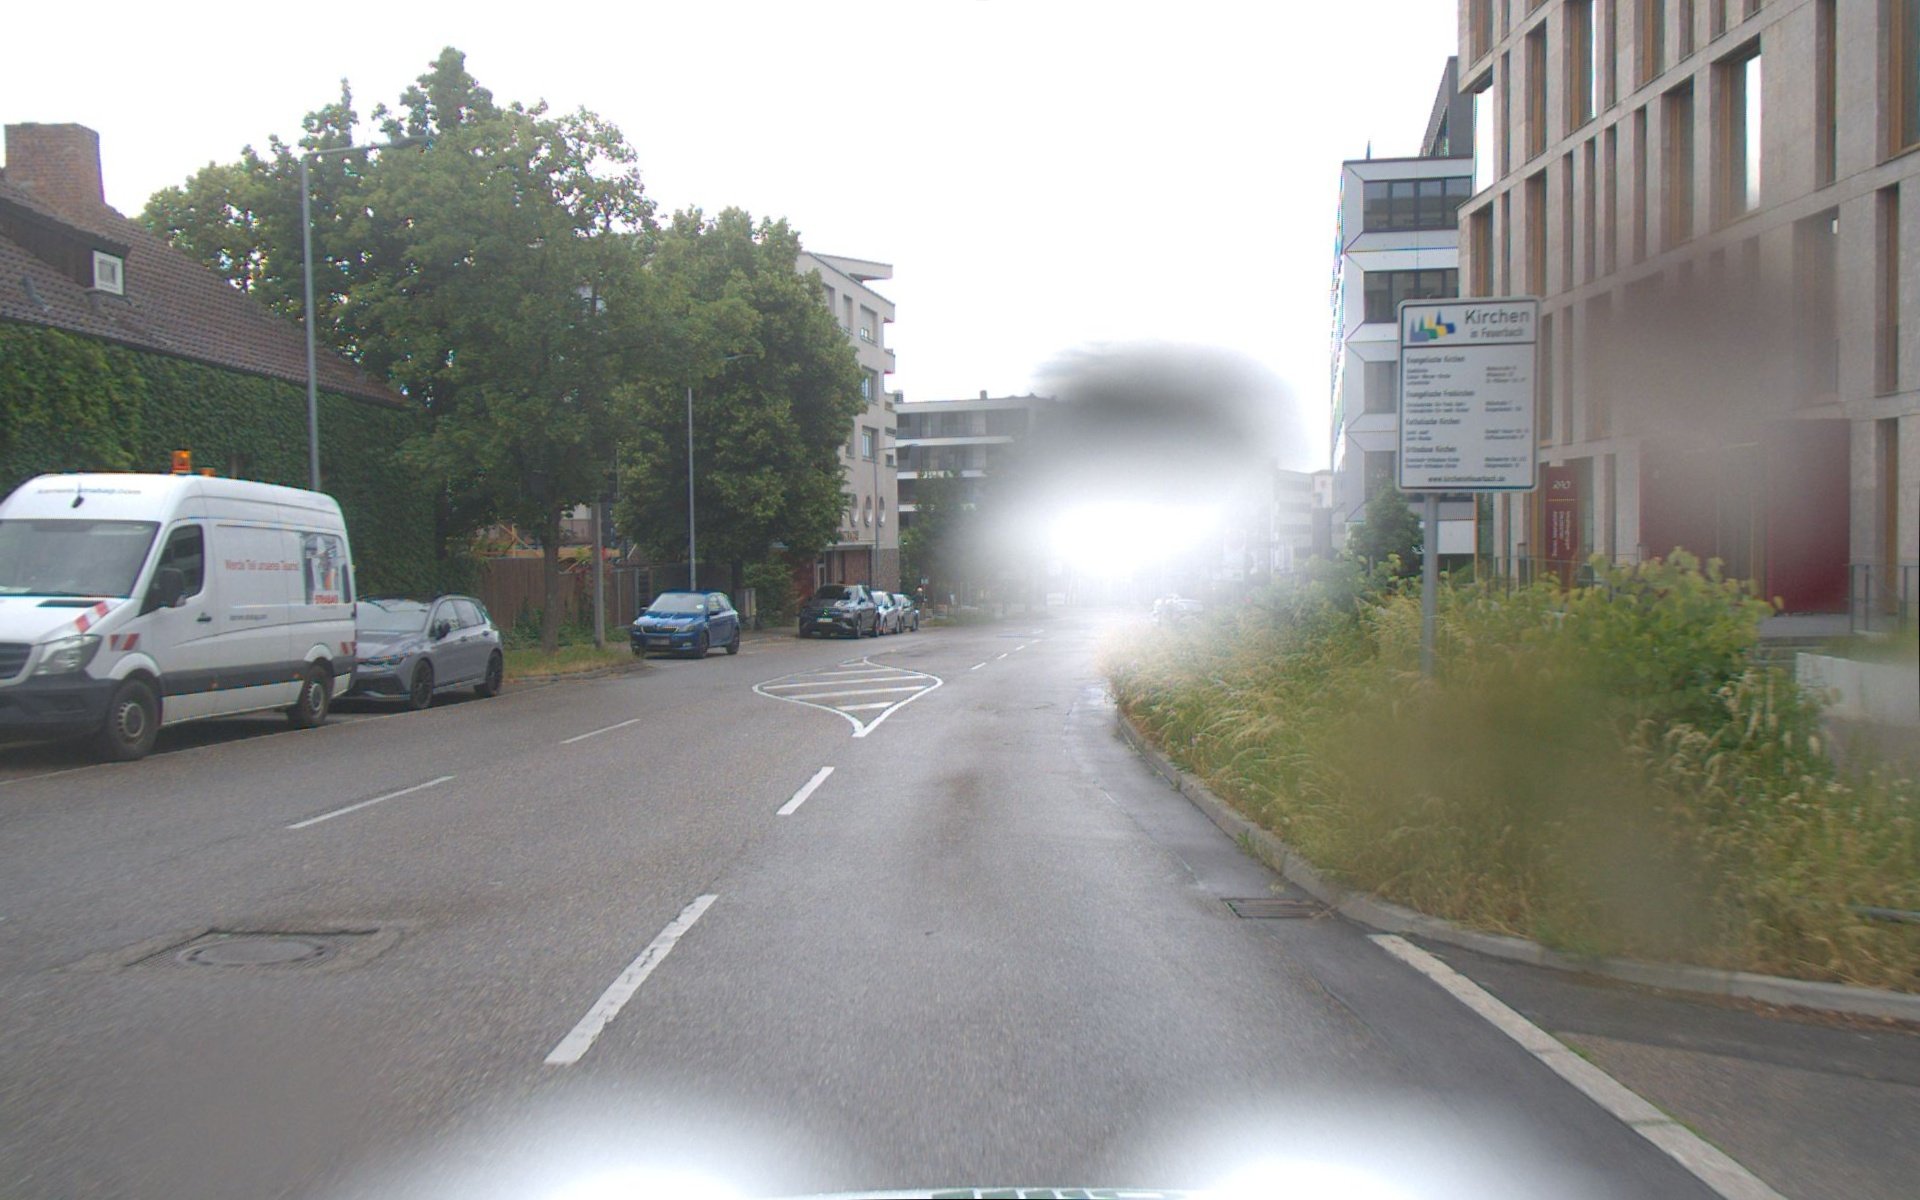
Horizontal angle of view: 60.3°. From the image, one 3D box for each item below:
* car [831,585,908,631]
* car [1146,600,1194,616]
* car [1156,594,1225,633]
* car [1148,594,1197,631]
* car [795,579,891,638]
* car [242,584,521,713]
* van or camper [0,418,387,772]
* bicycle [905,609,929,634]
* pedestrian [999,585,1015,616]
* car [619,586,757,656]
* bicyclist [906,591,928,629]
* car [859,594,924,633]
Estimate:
[{"bbox_3d":[-3.306,0.299,60.998,1.947,1.621,4.493,1,0,8],"label":"car"},{"bbox_3d":[17.854,0.690,140.438,1.961,1.315,4.683,1,0,37],"label":"car"},{"bbox_3d":[9.207,0.514,66.353,2.003,1.483,4.053,1,0,-3],"label":"car"},{"bbox_3d":[9.358,0.523,72.631,1.996,1.490,4.506,1,0,9],"label":"car"},{"bbox_3d":[-3.813,0.272,55.014,1.951,1.818,5.415,1,0,9],"label":"car"},{"bbox_3d":[-7.650,0.591,22.392,1.951,1.539,4.425,1,0,4],"label":"car"},{"bbox_3d":[-7.989,-0.084,16.310,2.291,2.813,6.144,1,1,2],"label":"van or camper"},{"bbox_3d":[-1.797,0.880,68.788,0.785,0.996,2.255,1,0,4],"label":"bicycle"},{"bbox_3d":[3.128,0.038,110.638,1.033,2.049,1.100,1,0,1],"label":"pedestrian"},{"bbox_3d":[-6.184,0.461,38.054,1.951,1.496,4.189,1,0,8],"label":"car"},{"bbox_3d":[-1.792,0.400,68.735,0.784,1.549,1.202,1,0,3],"label":"bicyclist"},{"bbox_3d":[-2.685,0.526,65.428,1.839,1.488,3.850,1,0,9],"label":"car"}]
